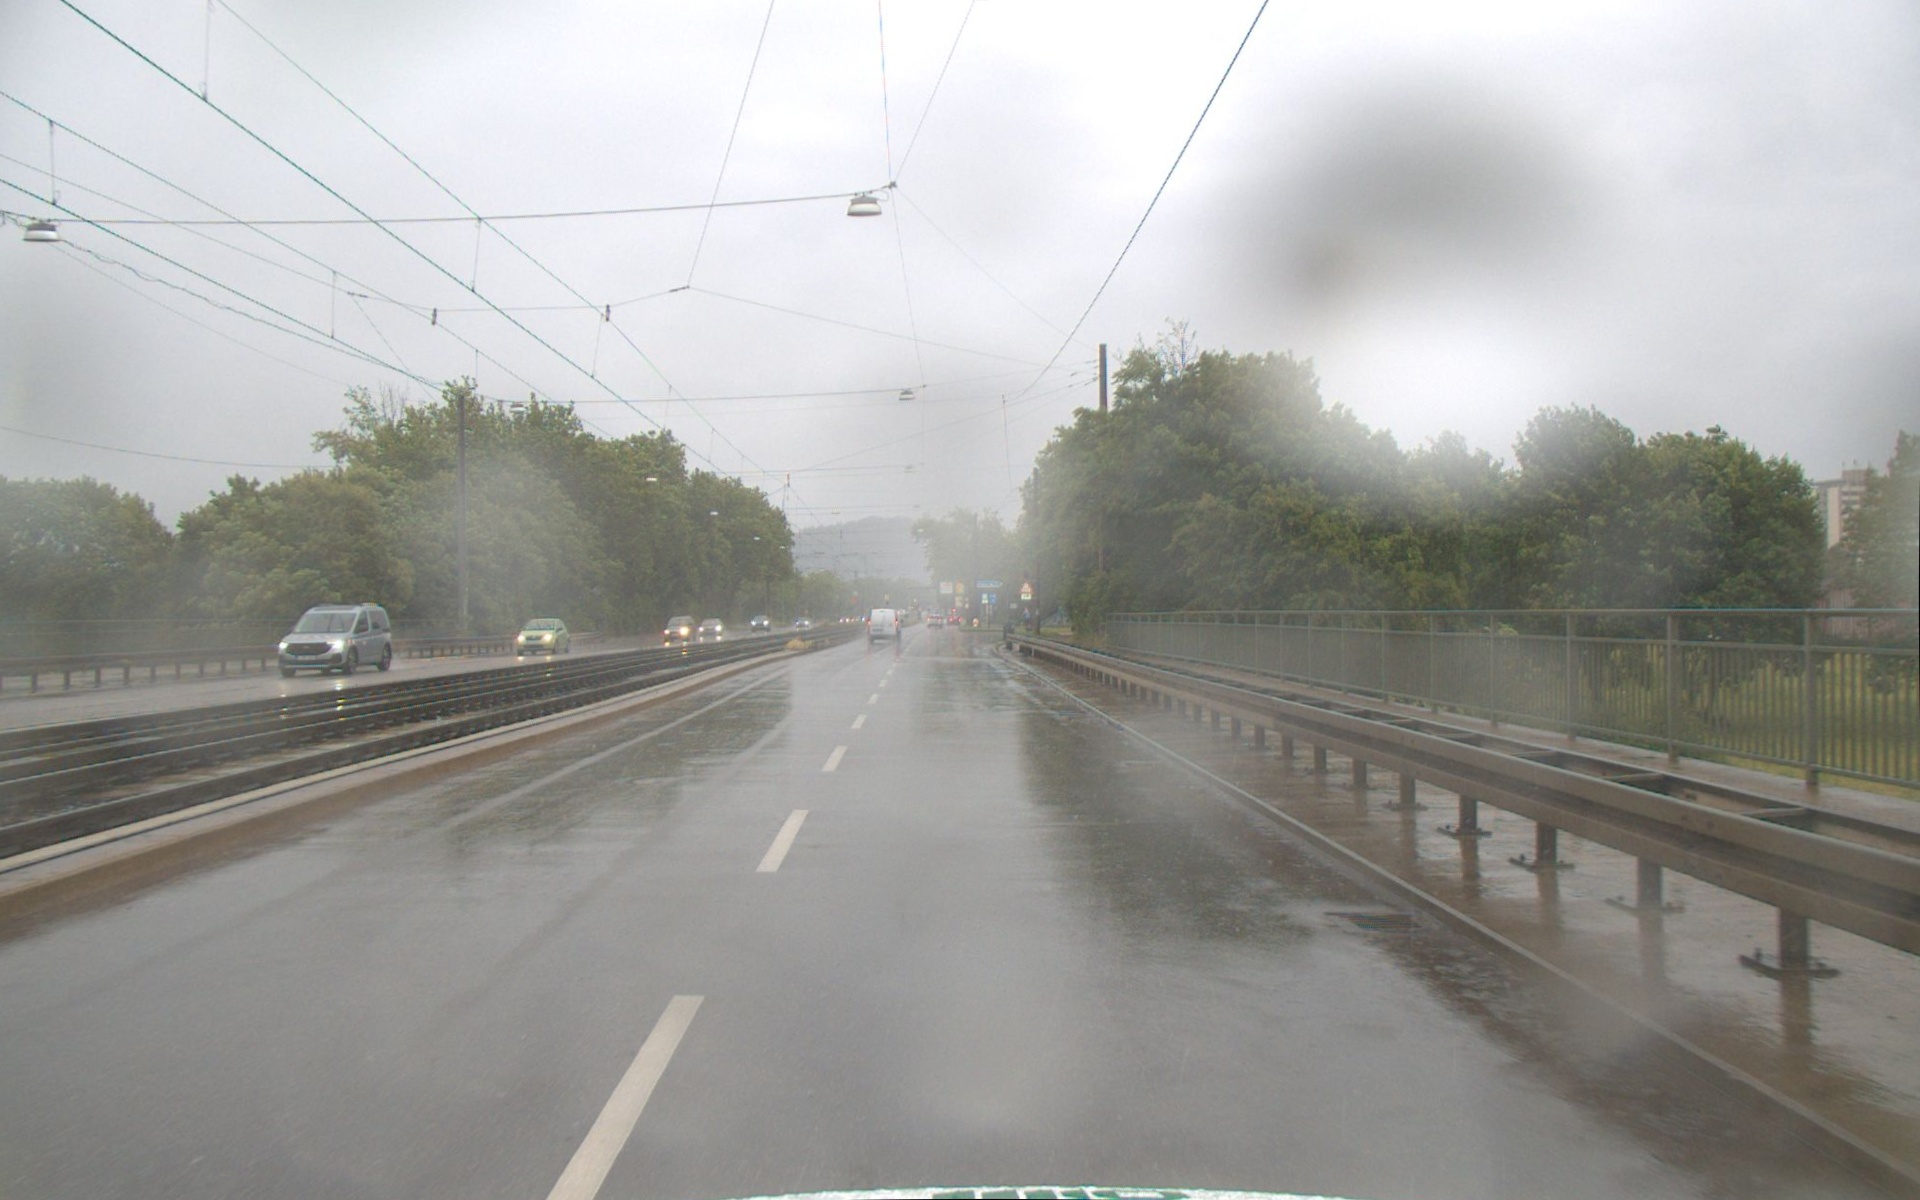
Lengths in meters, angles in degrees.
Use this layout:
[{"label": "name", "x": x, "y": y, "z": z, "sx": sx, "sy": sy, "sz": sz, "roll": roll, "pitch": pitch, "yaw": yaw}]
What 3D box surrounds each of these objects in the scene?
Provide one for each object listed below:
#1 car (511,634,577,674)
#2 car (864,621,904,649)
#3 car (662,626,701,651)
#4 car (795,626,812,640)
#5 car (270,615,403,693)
[{"label": "car", "x": -17.397, "y": 2.258, "z": 69.382, "sx": 1.808, "sy": 1.622, "sz": 3.999, "roll": 0, "pitch": -2, "yaw": -1}, {"label": "car", "x": -4.087, "y": 1.894, "z": 89.905, "sx": 2.035, "sy": 1.445, "sz": 3.999, "roll": -1, "pitch": -1, "yaw": -1}, {"label": "car", "x": -17.903, "y": 2.499, "z": 106.594, "sx": 1.803, "sy": 1.602, "sz": 4.384, "roll": 0, "pitch": -2, "yaw": -1}, {"label": "car", "x": -22.082, "y": 4.653, "z": 233.064, "sx": 1.954, "sy": 1.813, "sz": 3.999, "roll": 5, "pitch": 0, "yaw": -2}, {"label": "car", "x": -16.429, "y": 1.420, "z": 43.804, "sx": 1.811, "sy": 1.863, "sz": 4.392, "roll": 3, "pitch": -2, "yaw": -1}]
